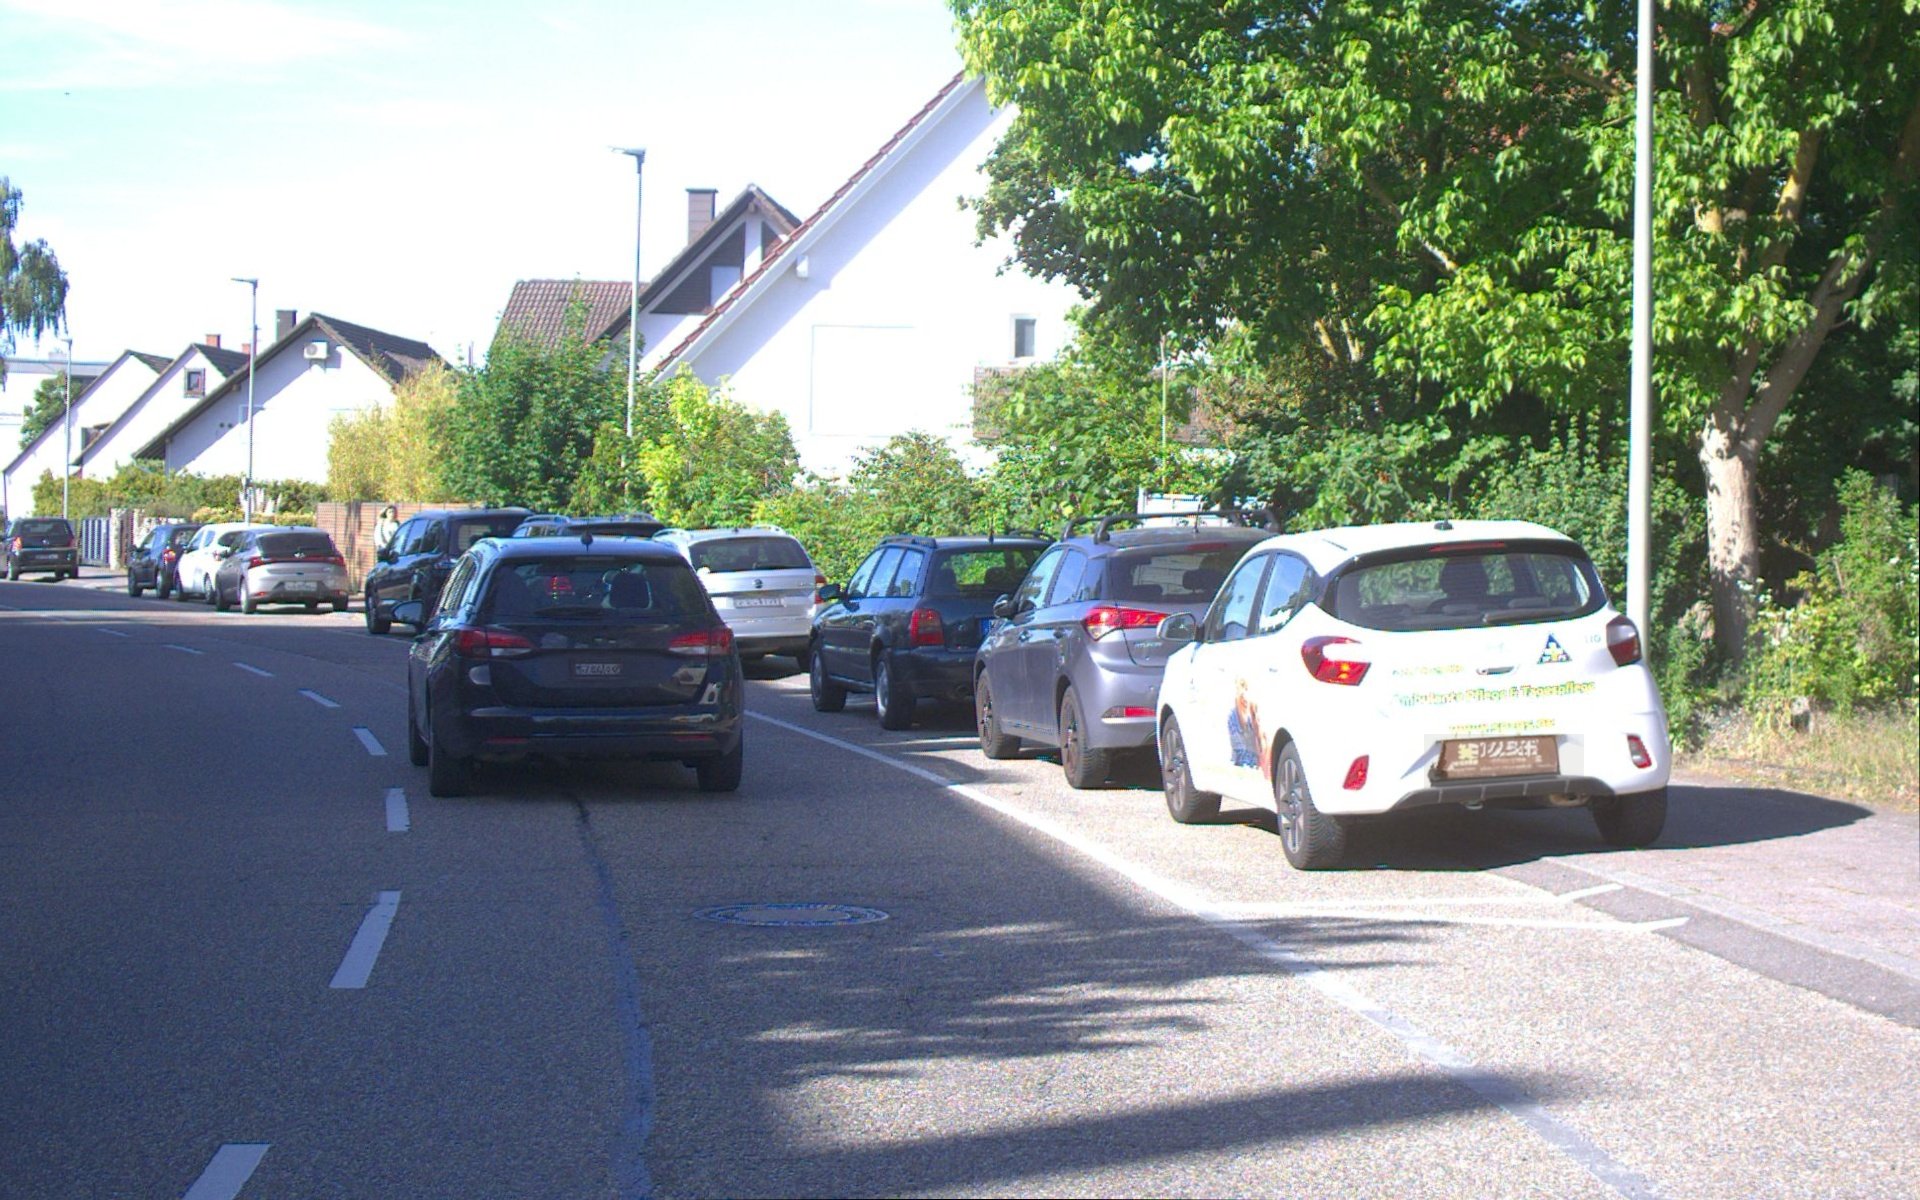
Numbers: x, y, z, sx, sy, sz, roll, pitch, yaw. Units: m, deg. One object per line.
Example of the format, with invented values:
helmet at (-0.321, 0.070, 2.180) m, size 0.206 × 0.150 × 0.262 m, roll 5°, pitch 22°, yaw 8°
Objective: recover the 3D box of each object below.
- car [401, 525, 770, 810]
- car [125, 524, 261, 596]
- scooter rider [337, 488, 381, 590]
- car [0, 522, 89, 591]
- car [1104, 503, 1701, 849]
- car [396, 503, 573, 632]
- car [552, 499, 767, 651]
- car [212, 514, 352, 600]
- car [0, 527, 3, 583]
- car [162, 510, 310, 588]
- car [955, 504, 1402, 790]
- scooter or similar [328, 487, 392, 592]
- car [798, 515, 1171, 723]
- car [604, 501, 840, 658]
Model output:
car at (-2.364, 0.337, 20.757) m, size 1.761 × 1.486 × 4.292 m, roll 2°, pitch 0°, yaw -12°
car at (-15.574, -0.809, 69.658) m, size 1.915 × 1.402 × 4.295 m, roll 1°, pitch 0°, yaw -23°
scooter rider at (-12.020, -1.210, 68.750) m, size 0.685 × 2.007 × 0.820 m, roll 1°, pitch -1°, yaw -22°
car at (-24.055, -1.128, 89.588) m, size 2.005 × 1.718 × 4.295 m, roll 1°, pitch 0°, yaw -22°
car at (2.003, 0.313, 16.905) m, size 1.760 × 1.475 × 4.295 m, roll 1°, pitch 0°, yaw -9°
car at (-6.536, -0.446, 46.914) m, size 1.902 × 1.660 × 4.192 m, roll 1°, pitch 0°, yaw -14°
car at (-3.688, -0.307, 41.493) m, size 2.005 × 1.718 × 4.295 m, roll 1°, pitch 0°, yaw -13°
car at (-11.712, -0.734, 59.206) m, size 1.915 × 1.402 × 4.295 m, roll 1°, pitch 0°, yaw -17°
car at (-31.356, -1.430, 107.945) m, size 2.005 × 1.718 × 4.295 m, roll 1°, pitch 0°, yaw -22°
car at (-13.782, -0.961, 65.246) m, size 1.915 × 1.402 × 4.295 m, roll 1°, pitch 0°, yaw -23°
car at (1.240, 0.222, 21.527) m, size 1.911 × 1.595 × 4.295 m, roll 1°, pitch 1°, yaw -8°
scooter or similar at (-12.012, -1.194, 68.769) m, size 0.685 × 2.007 × 2.963 m, roll 1°, pitch -1°, yaw -21°
car at (0.086, 0.118, 26.773) m, size 2.005 × 1.470 × 4.295 m, roll 1°, pitch 0°, yaw -12°
car at (-2.565, -0.221, 36.063) m, size 1.819 × 1.529 × 4.260 m, roll 1°, pitch 0°, yaw -13°
